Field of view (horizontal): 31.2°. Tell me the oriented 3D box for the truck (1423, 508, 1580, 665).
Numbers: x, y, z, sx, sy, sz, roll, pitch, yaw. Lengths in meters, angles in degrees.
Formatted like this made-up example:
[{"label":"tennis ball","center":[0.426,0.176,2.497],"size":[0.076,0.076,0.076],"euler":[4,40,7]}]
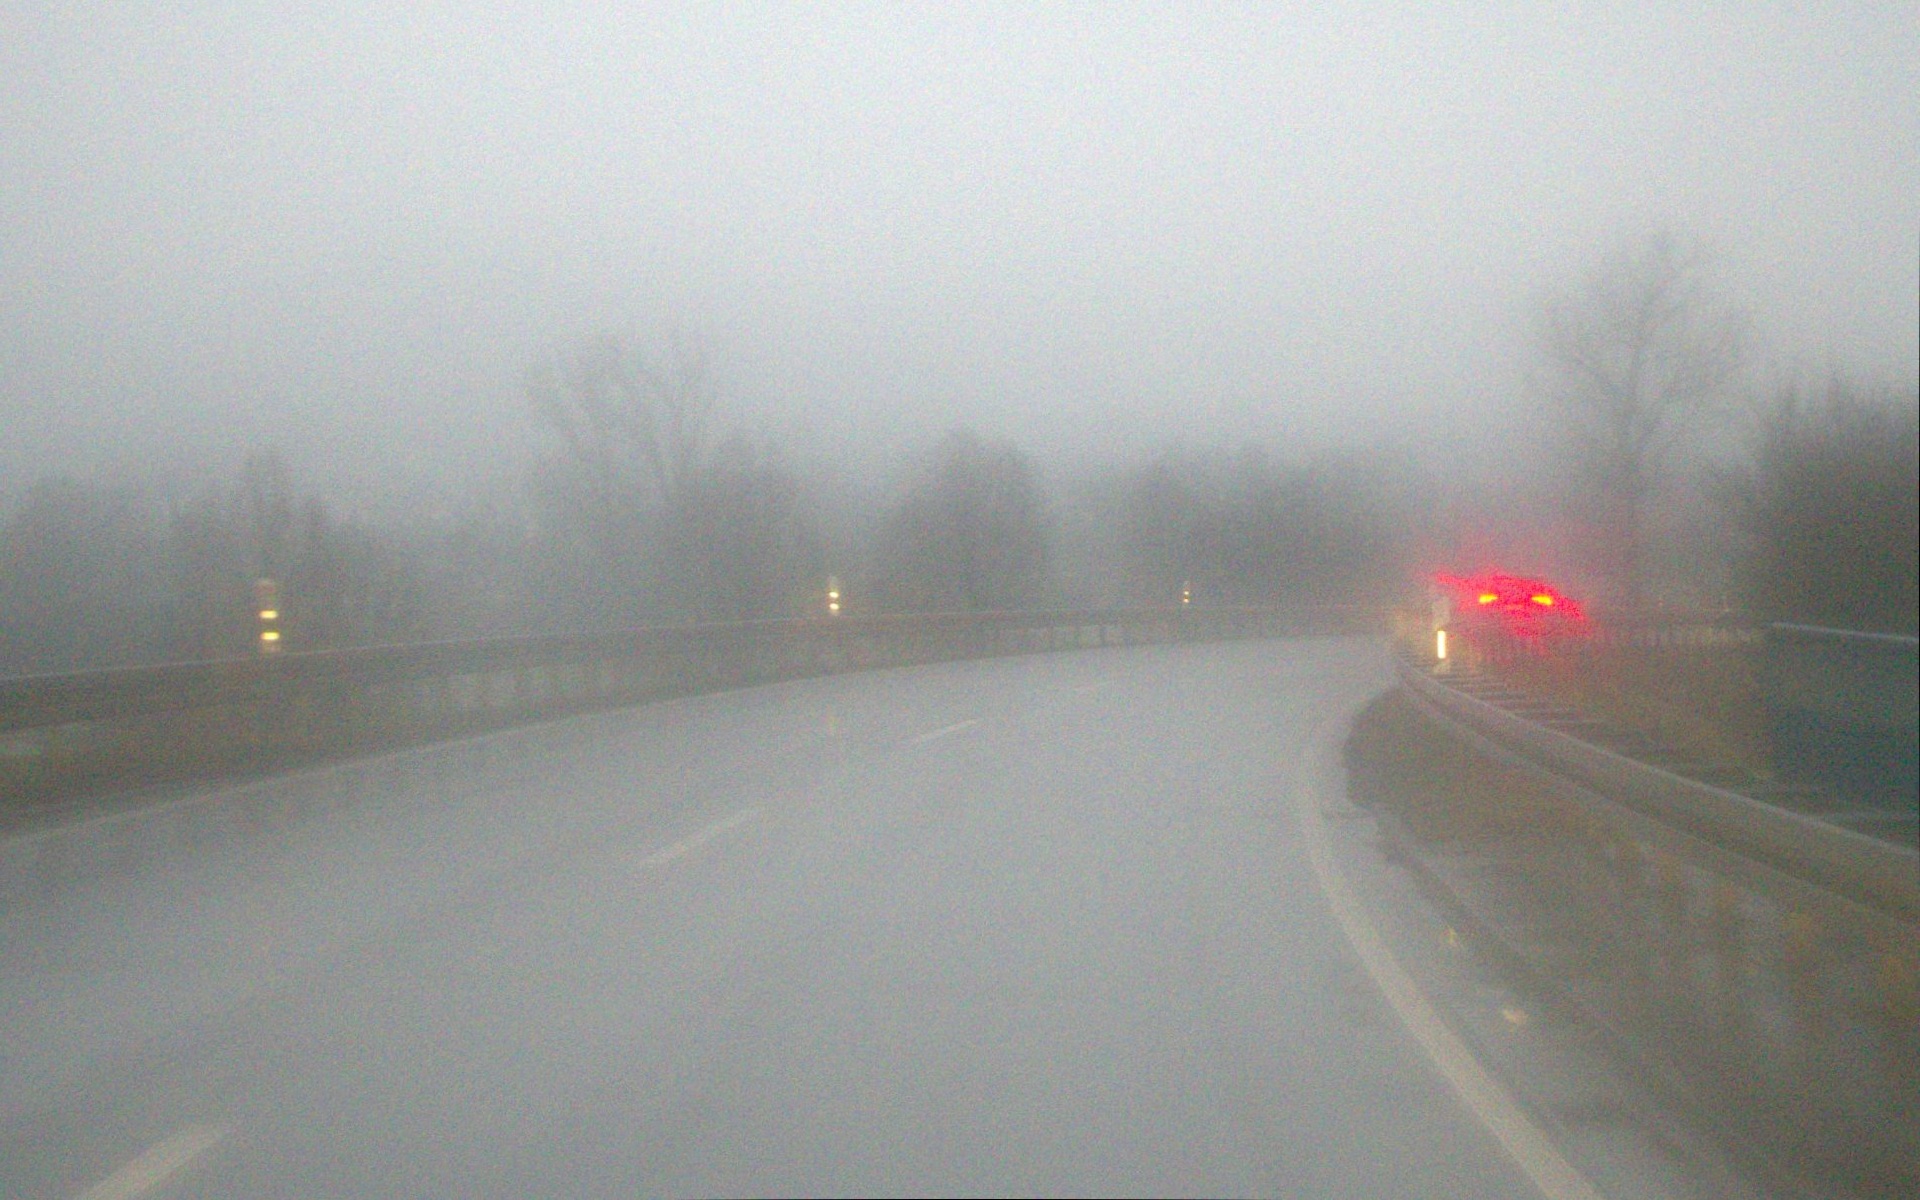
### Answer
[{"label":"truck","center":[12.593,-0.248,79.633],"size":[2.535,2.858,5.917],"euler":[12,0,15]}]
